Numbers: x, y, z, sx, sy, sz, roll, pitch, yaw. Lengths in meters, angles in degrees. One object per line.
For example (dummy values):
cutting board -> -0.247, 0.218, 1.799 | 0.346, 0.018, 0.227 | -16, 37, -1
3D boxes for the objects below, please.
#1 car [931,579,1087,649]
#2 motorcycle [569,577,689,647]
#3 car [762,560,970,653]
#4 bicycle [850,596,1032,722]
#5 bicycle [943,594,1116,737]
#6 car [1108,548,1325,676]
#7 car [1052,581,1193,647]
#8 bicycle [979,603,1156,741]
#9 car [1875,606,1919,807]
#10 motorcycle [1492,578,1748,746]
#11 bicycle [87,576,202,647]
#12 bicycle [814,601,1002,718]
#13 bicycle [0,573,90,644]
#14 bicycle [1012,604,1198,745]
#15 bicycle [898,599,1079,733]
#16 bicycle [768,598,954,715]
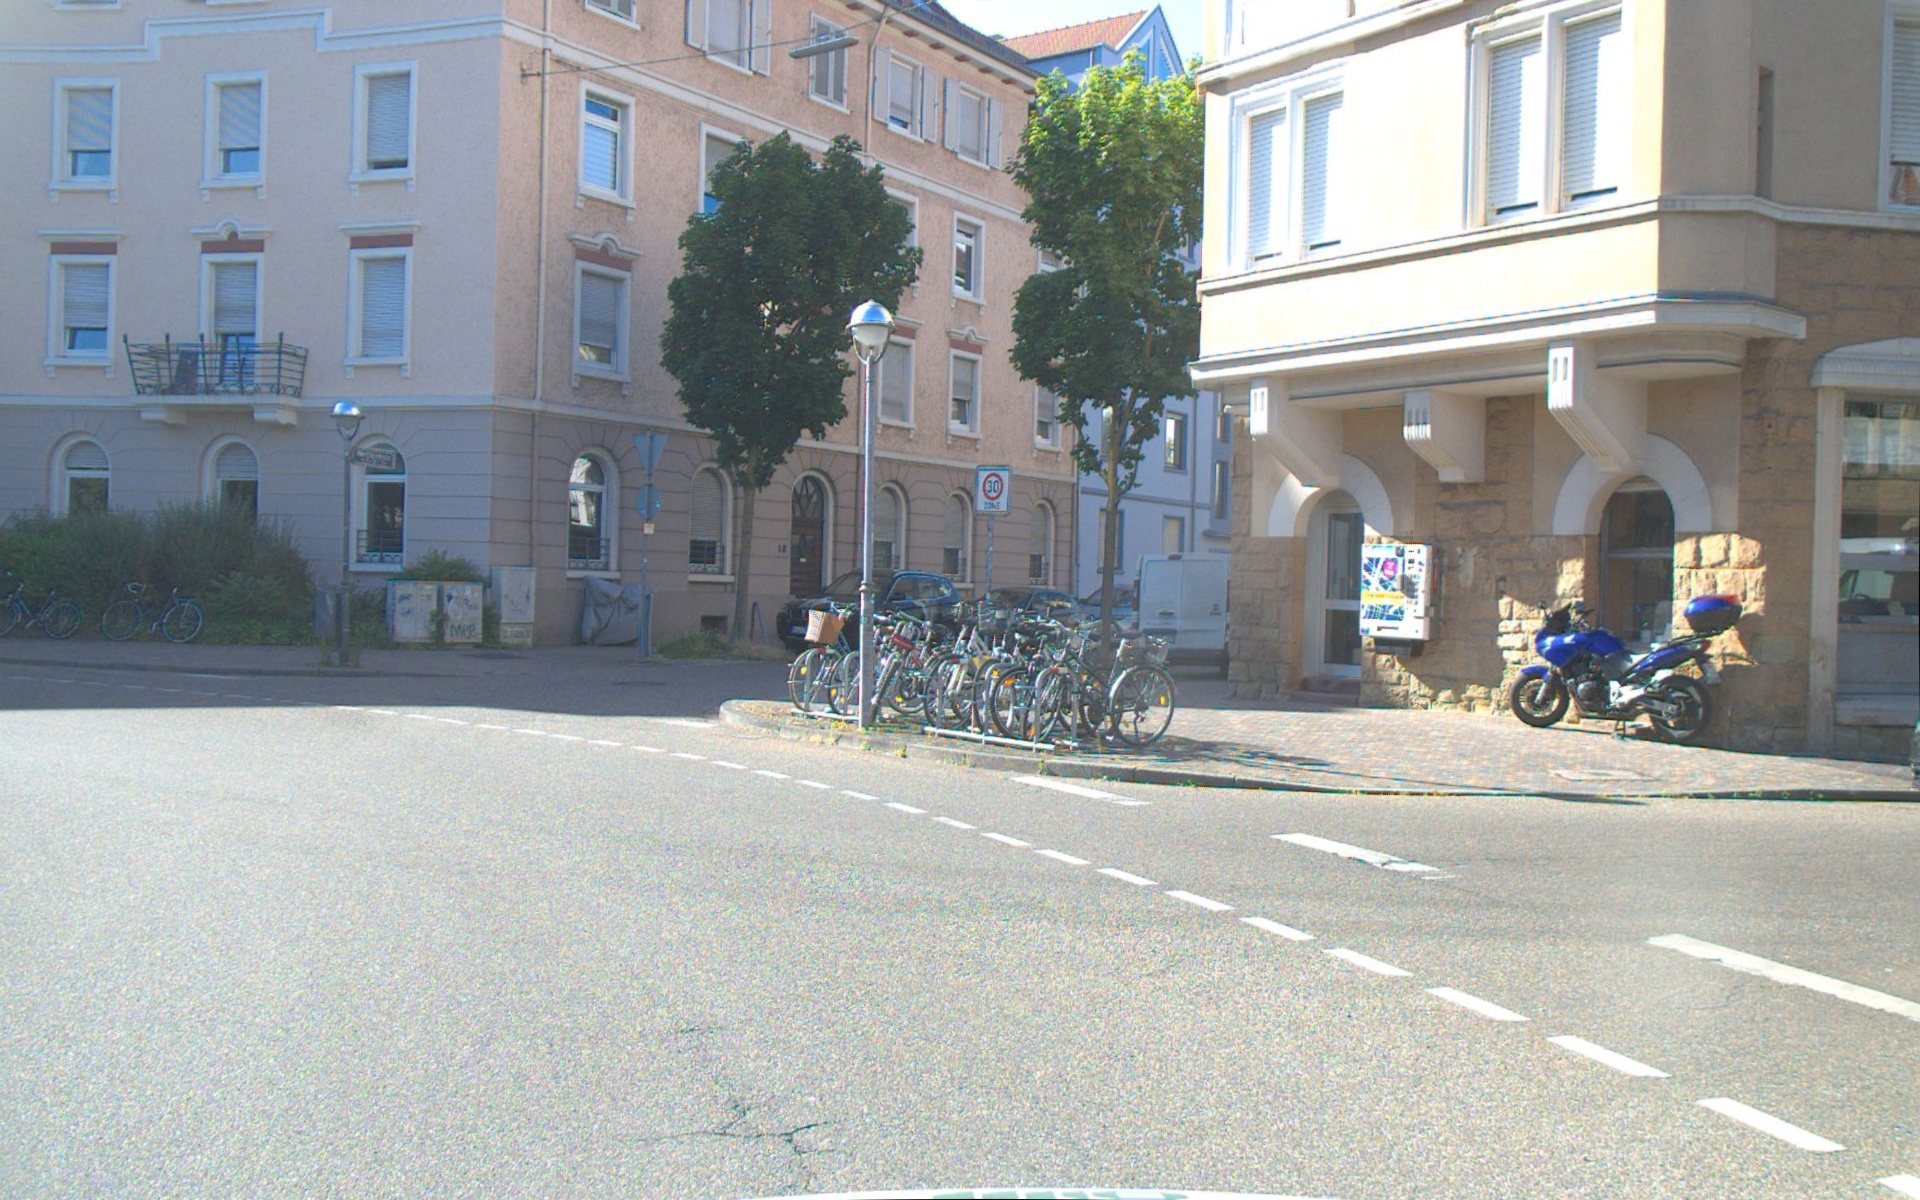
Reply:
car -> 1.129, 0.314, 36.508 | 1.668, 1.436, 3.648 | 2, 0, 36
motorcycle -> -6.267, 0.208, 31.436 | 0.924, 1.241, 2.145 | 3, 2, 36
car -> -1.761, 0.130, 32.387 | 1.869, 1.670, 4.335 | 2, 0, 33
bicycle -> -0.173, 0.554, 15.996 | 1.674, 1.165, 0.631 | 1, 0, -32
bicycle -> 0.644, 0.568, 14.823 | 1.681, 1.212, 0.445 | 1, 0, -40
car -> 4.419, 0.186, 27.892 | 2.095, 1.942, 4.552 | 2, 0, 30
car -> 4.075, 0.343, 41.020 | 1.668, 1.512, 3.987 | 2, 0, 36
bicycle -> 0.959, 0.607, 14.505 | 1.681, 1.143, 0.476 | 1, 0, -40
car -> 8.722, 0.784, 11.674 | 3.842, 1.414, 1.682 | 1, -1, -13
motorcycle -> 6.365, 0.552, 16.081 | 0.694, 1.435, 2.219 | 0, 3, -39
bicycle -> -13.373, 0.176, 27.133 | 1.646, 1.107, 0.503 | 1, 2, 2
bicycle -> -0.507, 0.580, 16.511 | 1.854, 1.109, 0.530 | 1, 0, -32
bicycle -> -15.365, 0.134, 27.393 | 1.646, 1.107, 0.503 | 1, 2, 2
bicycle -> 1.260, 0.615, 14.161 | 1.701, 1.143, 0.477 | 1, 0, -38
bicycle -> 0.282, 0.582, 15.237 | 1.681, 1.165, 0.608 | 1, 0, -40
bicycle -> -1.005, 0.573, 17.084 | 1.848, 1.149, 0.690 | 2, -1, -38
